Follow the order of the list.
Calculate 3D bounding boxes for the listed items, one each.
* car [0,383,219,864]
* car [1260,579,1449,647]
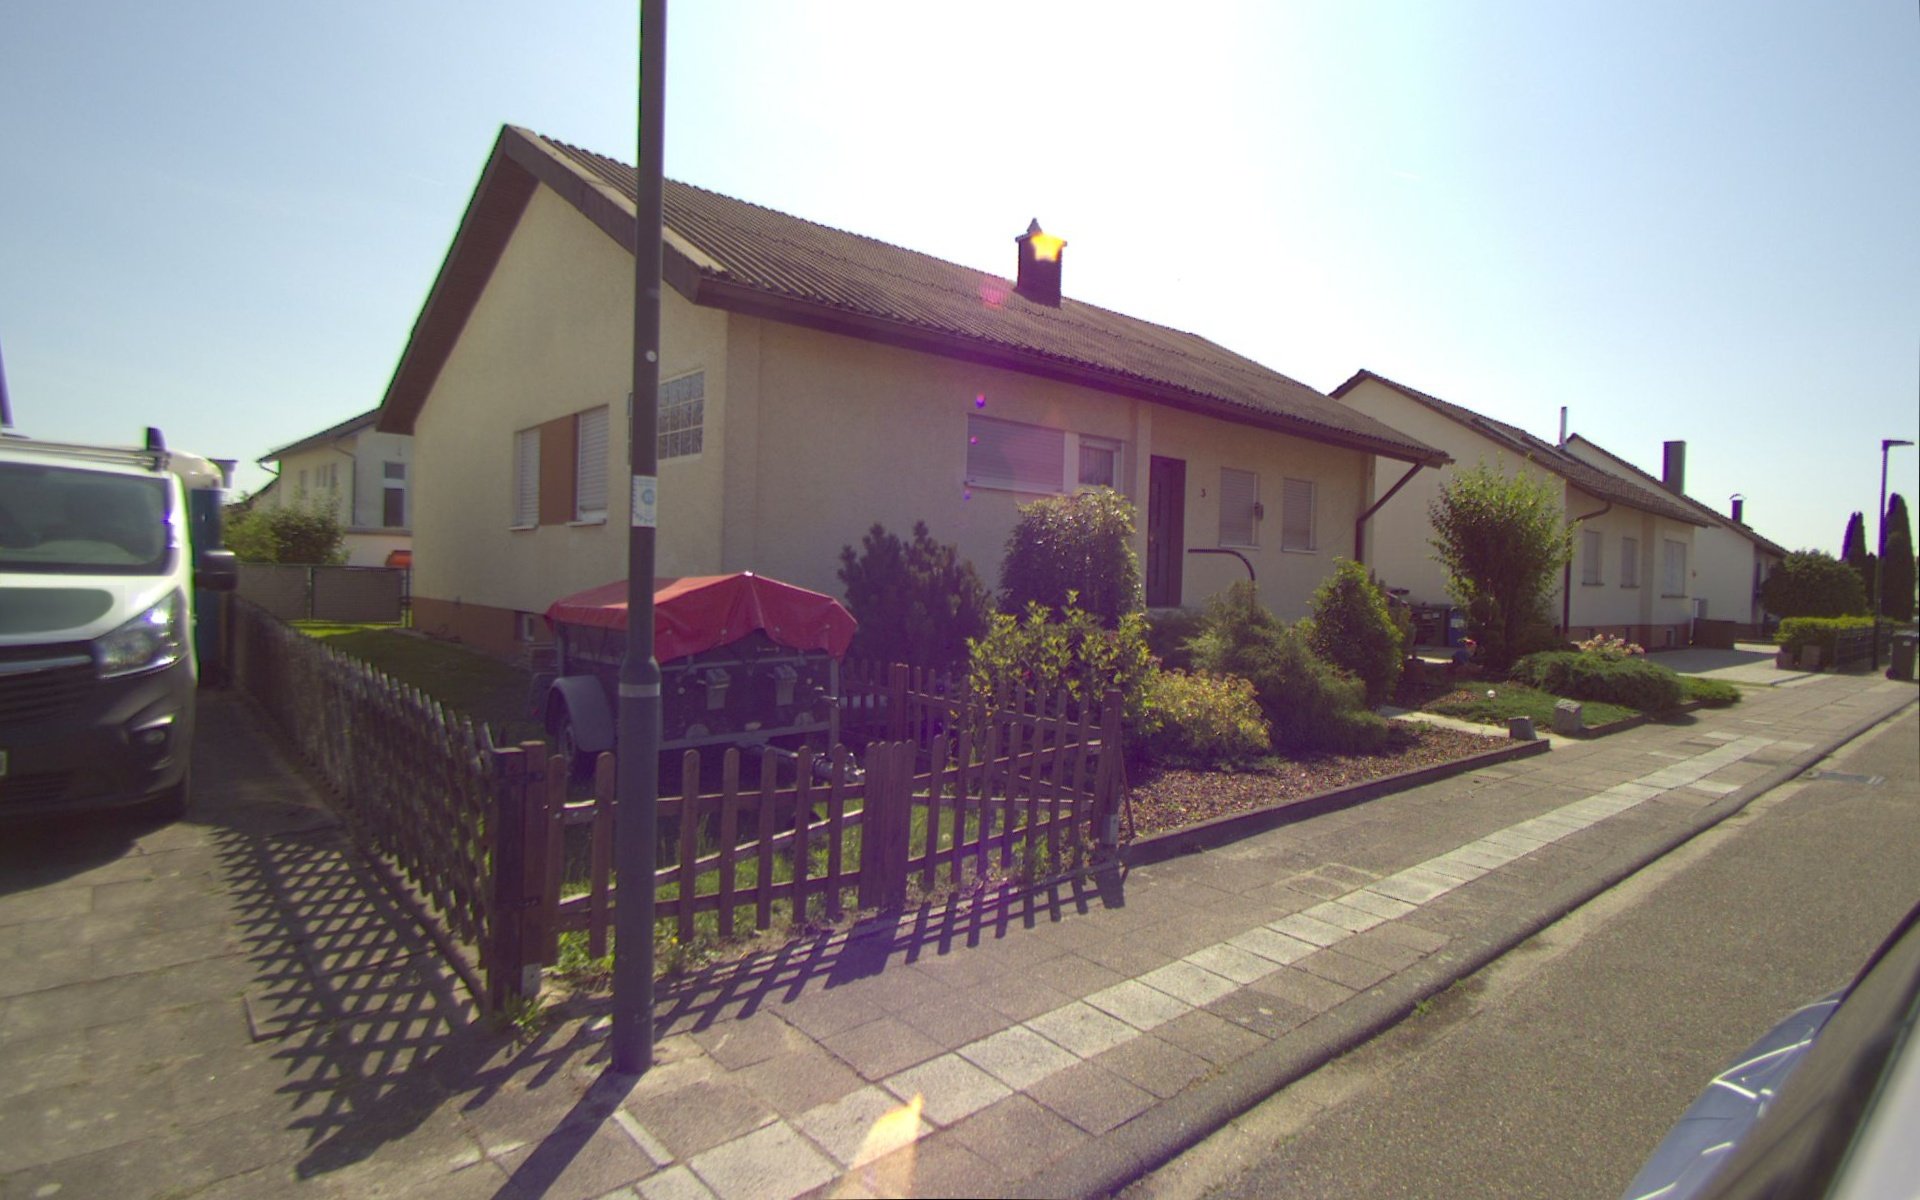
[{"bbox_3d":[-5.788,0.011,6.115,1.834,2.038,5.008,1,2,-39],"label":"car"},{"bbox_3d":[9.584,0.258,24.779,3.987,1.439,1.667,3,2,44],"label":"car"}]
